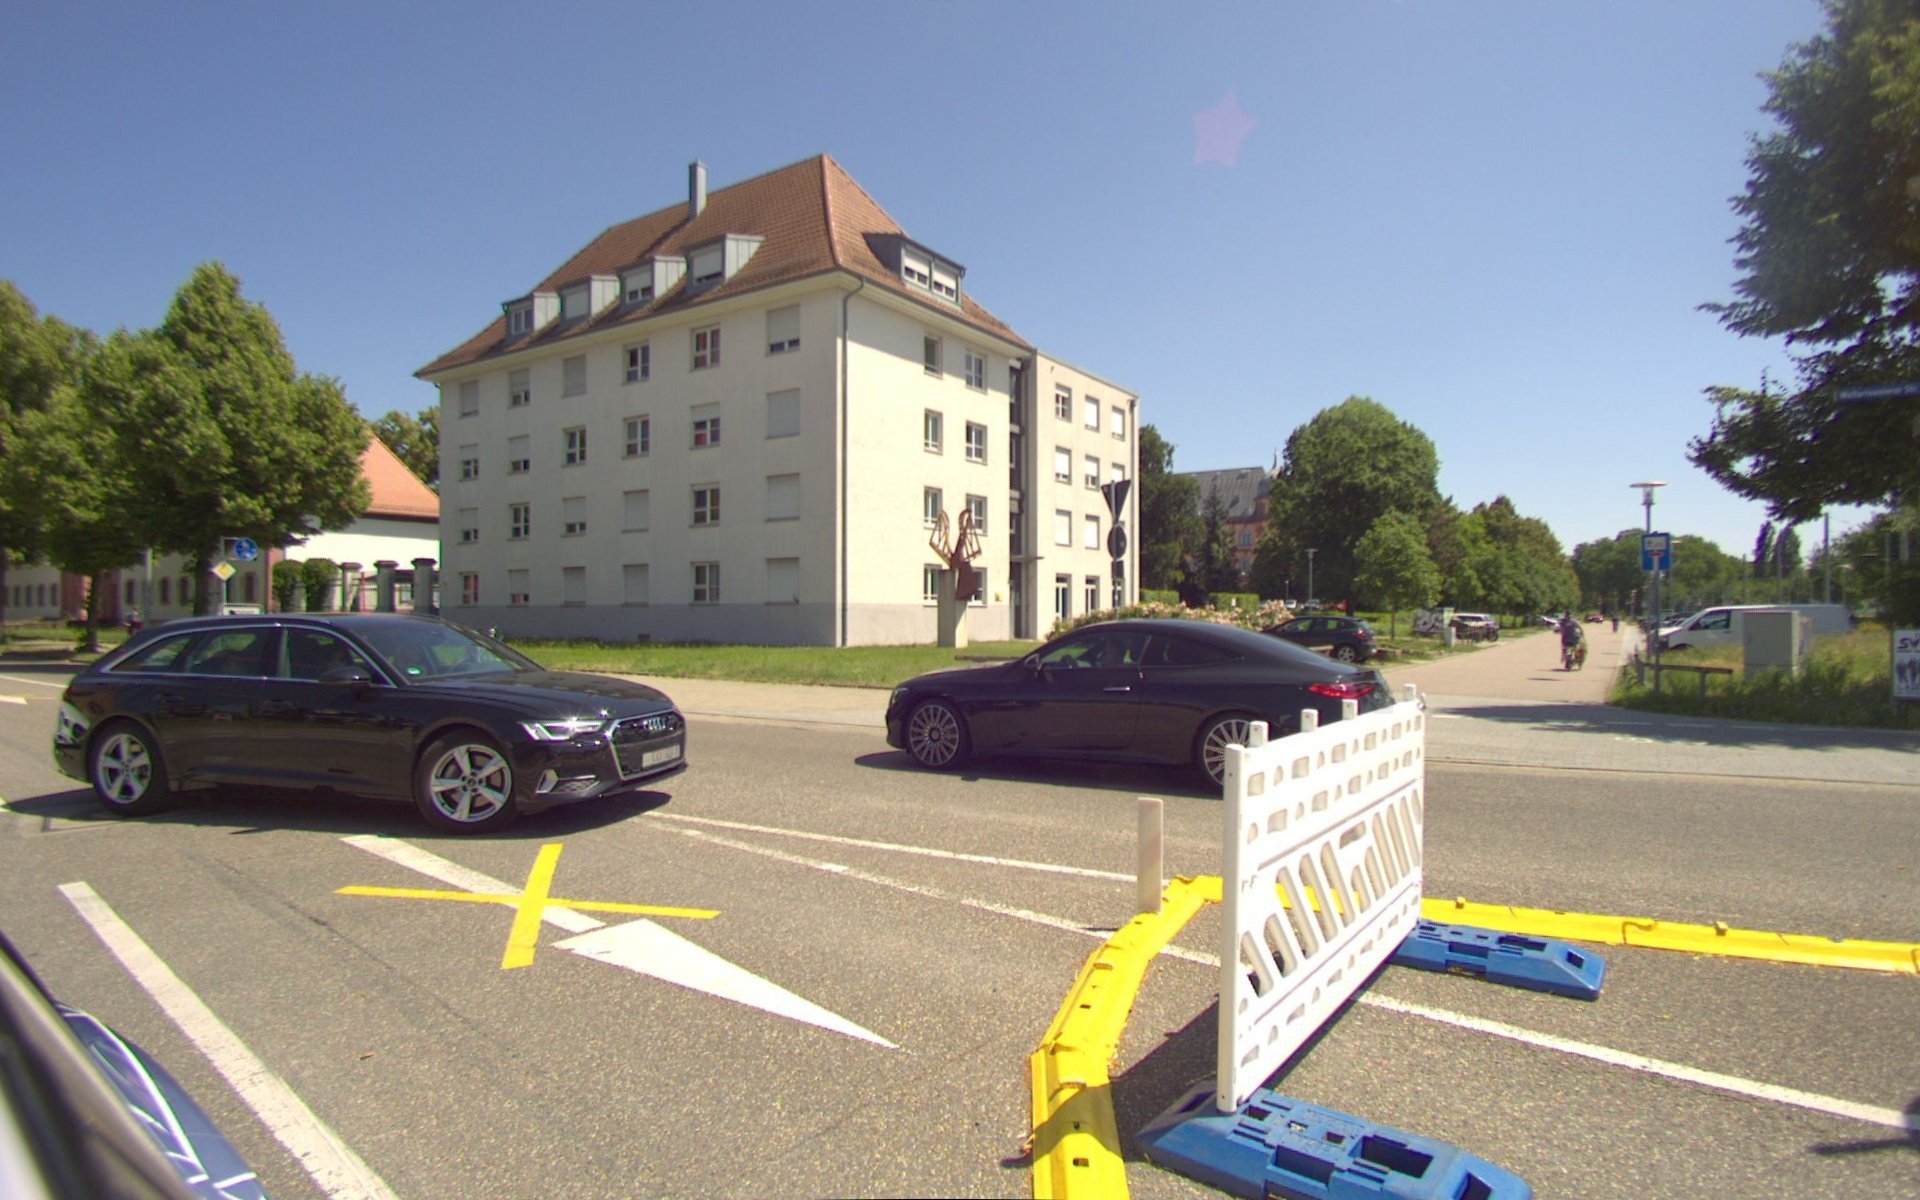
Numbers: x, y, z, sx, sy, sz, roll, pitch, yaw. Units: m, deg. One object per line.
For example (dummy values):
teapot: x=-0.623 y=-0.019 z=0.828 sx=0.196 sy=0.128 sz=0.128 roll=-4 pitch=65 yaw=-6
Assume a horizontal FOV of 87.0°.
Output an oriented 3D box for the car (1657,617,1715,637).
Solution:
car: x=54.955 y=2.000 z=76.620 sx=3.533 sy=1.475 sz=1.530 roll=-1 pitch=-1 yaw=36

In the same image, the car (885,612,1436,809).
car: x=1.731 y=0.854 z=9.224 sx=4.614 sy=1.414 sz=1.803 roll=-1 pitch=-2 yaw=30

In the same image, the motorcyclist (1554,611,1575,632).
motorcyclist: x=46.003 y=1.624 z=76.961 sx=1.252 sy=1.621 sz=1.423 roll=-1 pitch=-1 yaw=35

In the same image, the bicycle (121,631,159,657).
bicycle: x=-29.518 y=1.576 z=36.429 sx=1.904 sy=0.922 sz=0.556 roll=-1 pitch=-1 yaw=35

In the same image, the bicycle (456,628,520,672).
bicycle: x=-12.160 y=1.273 z=26.042 sx=1.984 sy=1.032 sz=0.700 roll=0 pitch=2 yaw=41

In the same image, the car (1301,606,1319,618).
car: x=42.185 y=1.452 z=121.942 sx=1.473 sy=1.427 sz=2.997 roll=-1 pitch=-1 yaw=30

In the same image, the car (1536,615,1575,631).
car: x=75.393 y=2.912 z=128.176 sx=3.998 sy=2.029 sz=1.973 roll=-1 pitch=-1 yaw=41

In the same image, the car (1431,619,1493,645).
car: x=26.673 y=1.677 z=53.774 sx=2.747 sy=1.367 sz=1.156 roll=-1 pitch=-1 yaw=41

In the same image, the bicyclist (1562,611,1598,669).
bicyclist: x=18.052 y=1.143 z=29.450 sx=0.715 sy=1.650 sz=0.961 roll=2 pitch=0 yaw=41

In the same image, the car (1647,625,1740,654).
car: x=33.964 y=1.802 z=46.898 sx=3.382 sy=1.291 sz=1.338 roll=-1 pitch=-1 yaw=42

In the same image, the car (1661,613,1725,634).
car: x=46.706 y=1.504 z=64.505 sx=3.225 sy=1.291 sz=1.338 roll=-1 pitch=-1 yaw=41

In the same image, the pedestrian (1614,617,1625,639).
pedestrian: x=50.992 y=2.171 z=78.284 sx=0.670 sy=1.677 sz=1.325 roll=-1 pitch=-1 yaw=34

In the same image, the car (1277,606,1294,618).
car: x=39.776 y=1.470 z=123.584 sx=1.473 sy=1.427 sz=2.997 roll=-1 pitch=-1 yaw=30

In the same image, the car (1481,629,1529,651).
car: x=34.876 y=2.548 z=64.775 sx=2.528 sy=1.368 sz=1.069 roll=-1 pitch=-1 yaw=41

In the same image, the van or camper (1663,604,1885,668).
van or camper: x=25.508 y=1.097 z=32.026 sx=5.259 sy=1.871 sz=1.977 roll=-1 pitch=-1 yaw=34

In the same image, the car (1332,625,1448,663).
car: x=14.831 y=1.487 z=34.988 sx=3.506 sy=1.227 sz=1.340 roll=-1 pitch=-1 yaw=35

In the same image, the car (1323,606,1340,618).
car: x=44.233 y=1.425 z=120.574 sx=1.473 sy=1.427 sz=2.997 roll=-1 pitch=-1 yaw=30

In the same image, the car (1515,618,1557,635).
car: x=67.625 y=3.107 z=118.847 sx=3.998 sy=2.029 sz=1.973 roll=-1 pitch=-1 yaw=41

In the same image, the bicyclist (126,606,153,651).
bicyclist: x=-29.561 y=1.019 z=36.475 sx=0.738 sy=1.623 sz=0.562 roll=-1 pitch=-1 yaw=35

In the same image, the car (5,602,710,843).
car: x=-4.381 y=0.786 z=7.564 sx=4.571 sy=1.462 sz=1.794 roll=-1 pitch=0 yaw=13

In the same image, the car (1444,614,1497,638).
car: x=29.515 y=1.480 z=58.545 sx=2.528 sy=1.368 sz=1.069 roll=-1 pitch=-1 yaw=41

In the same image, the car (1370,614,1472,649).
car: x=20.124 y=1.337 z=44.218 sx=3.799 sy=1.336 sz=1.640 roll=2 pitch=1 yaw=35

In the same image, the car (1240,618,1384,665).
car: x=10.577 y=1.219 z=30.504 sx=3.799 sy=1.337 sz=1.640 roll=-1 pitch=-1 yaw=35

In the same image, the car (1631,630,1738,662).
car: x=29.565 y=1.874 z=41.399 sx=3.506 sy=1.227 sz=1.340 roll=-1 pitch=-1 yaw=35

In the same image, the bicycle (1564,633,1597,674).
bicycle: x=18.066 y=1.545 z=29.459 sx=0.550 sy=1.121 sz=1.654 roll=2 pitch=0 yaw=40

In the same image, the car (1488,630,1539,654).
car: x=40.788 y=3.059 z=74.582 sx=3.220 sy=1.718 sz=1.493 roll=-1 pitch=-1 yaw=31

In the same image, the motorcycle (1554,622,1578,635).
motorcycle: x=46.345 y=2.181 z=77.382 sx=1.368 sy=0.929 sz=3.187 roll=-1 pitch=-1 yaw=35
